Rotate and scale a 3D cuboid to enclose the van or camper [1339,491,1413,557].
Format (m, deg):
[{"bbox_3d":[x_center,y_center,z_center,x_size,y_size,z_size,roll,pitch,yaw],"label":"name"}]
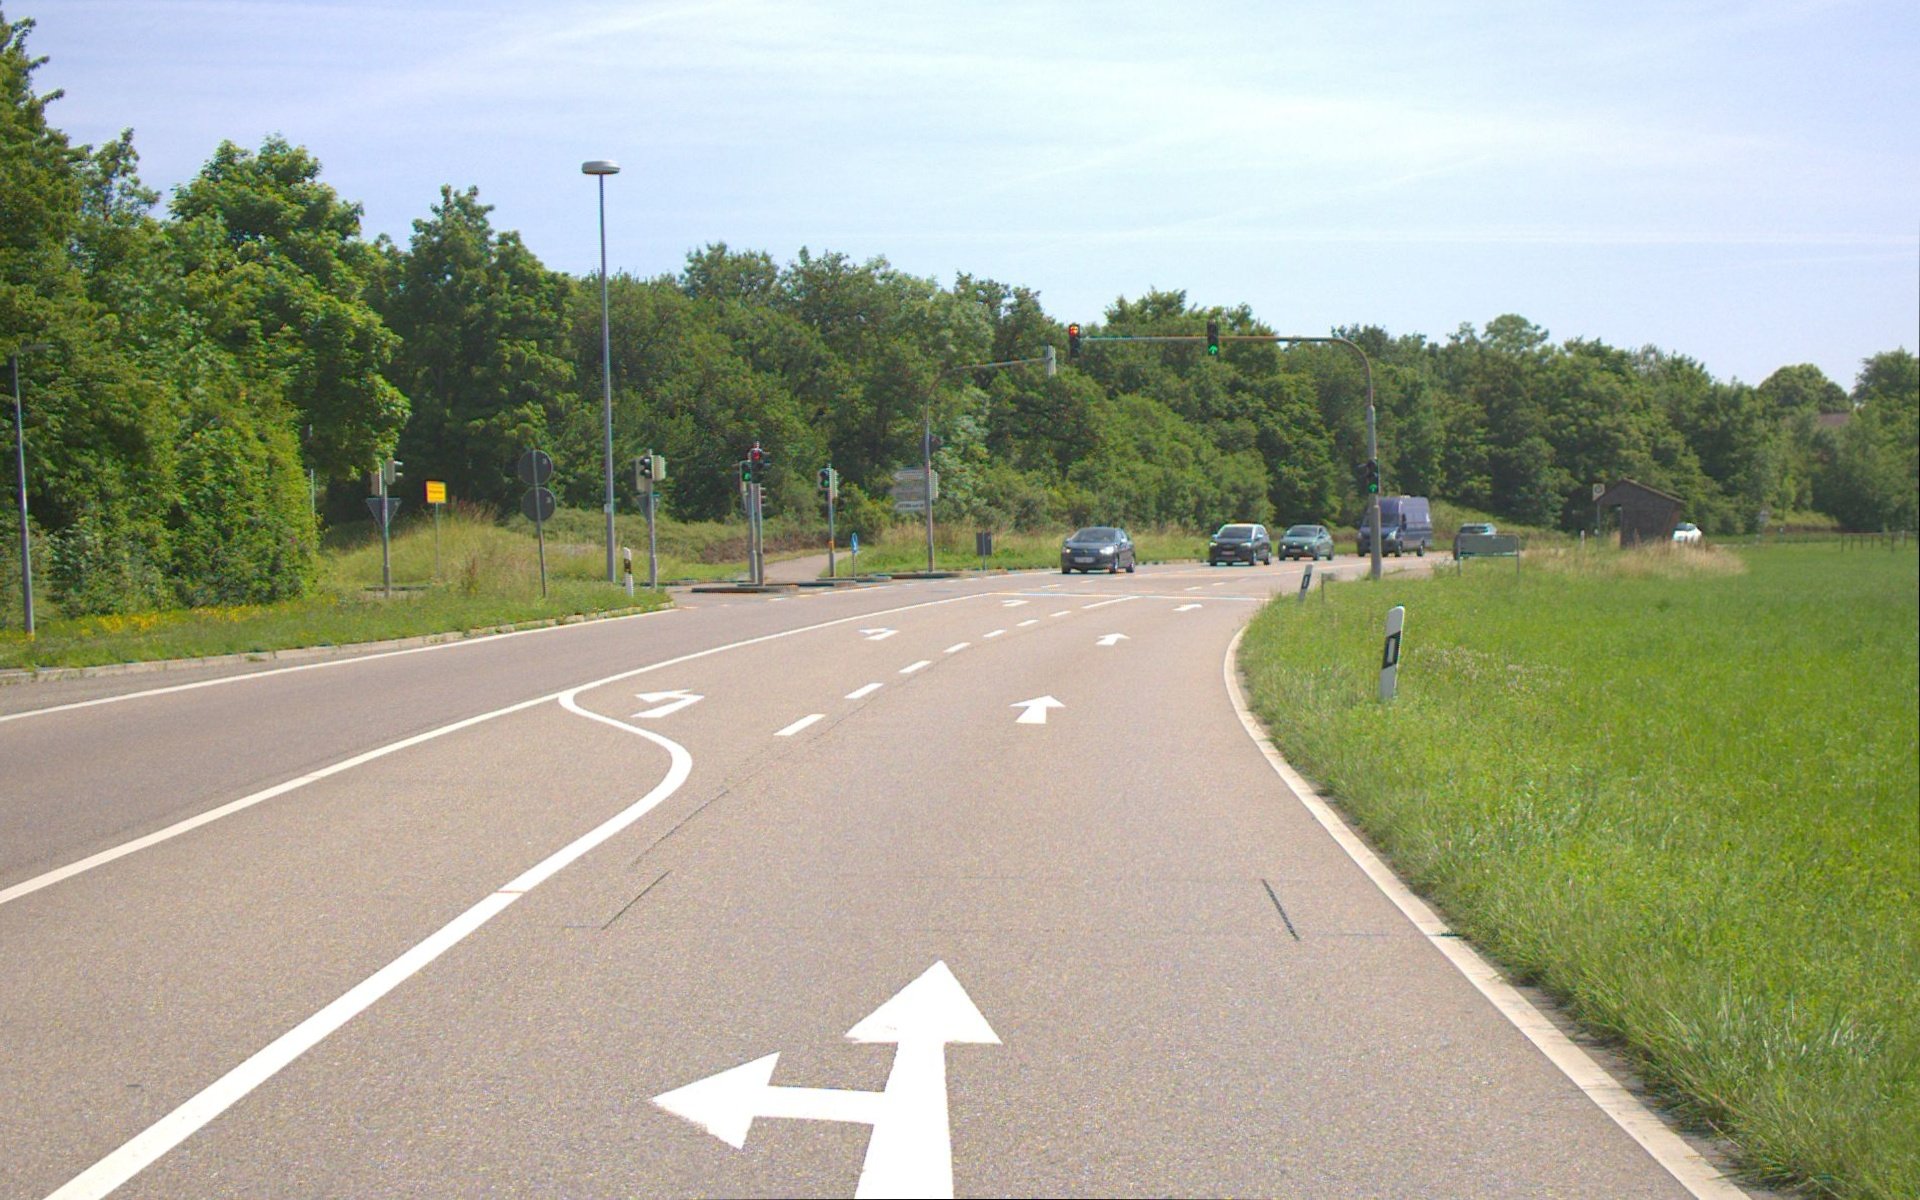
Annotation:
[{"bbox_3d":[19.583,-3.597,161.467,2.241,2.904,7.242,0,3,17],"label":"van or camper"}]

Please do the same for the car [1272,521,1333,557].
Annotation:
[{"bbox_3d":[14.491,-2.573,145.355,1.708,1.478,3.829,1,1,19],"label":"car"}]

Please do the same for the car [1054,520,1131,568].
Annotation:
[{"bbox_3d":[4.249,-1.803,109.685,1.792,1.469,4.309,1,1,11],"label":"car"}]

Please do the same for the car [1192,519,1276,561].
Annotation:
[{"bbox_3d":[10.374,-2.251,130.046,1.976,1.557,4.184,1,1,23],"label":"car"}]

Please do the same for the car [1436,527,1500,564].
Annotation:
[{"bbox_3d":[21.926,-2.367,148.384,1.995,1.568,3.996,1,1,20],"label":"car"}]
